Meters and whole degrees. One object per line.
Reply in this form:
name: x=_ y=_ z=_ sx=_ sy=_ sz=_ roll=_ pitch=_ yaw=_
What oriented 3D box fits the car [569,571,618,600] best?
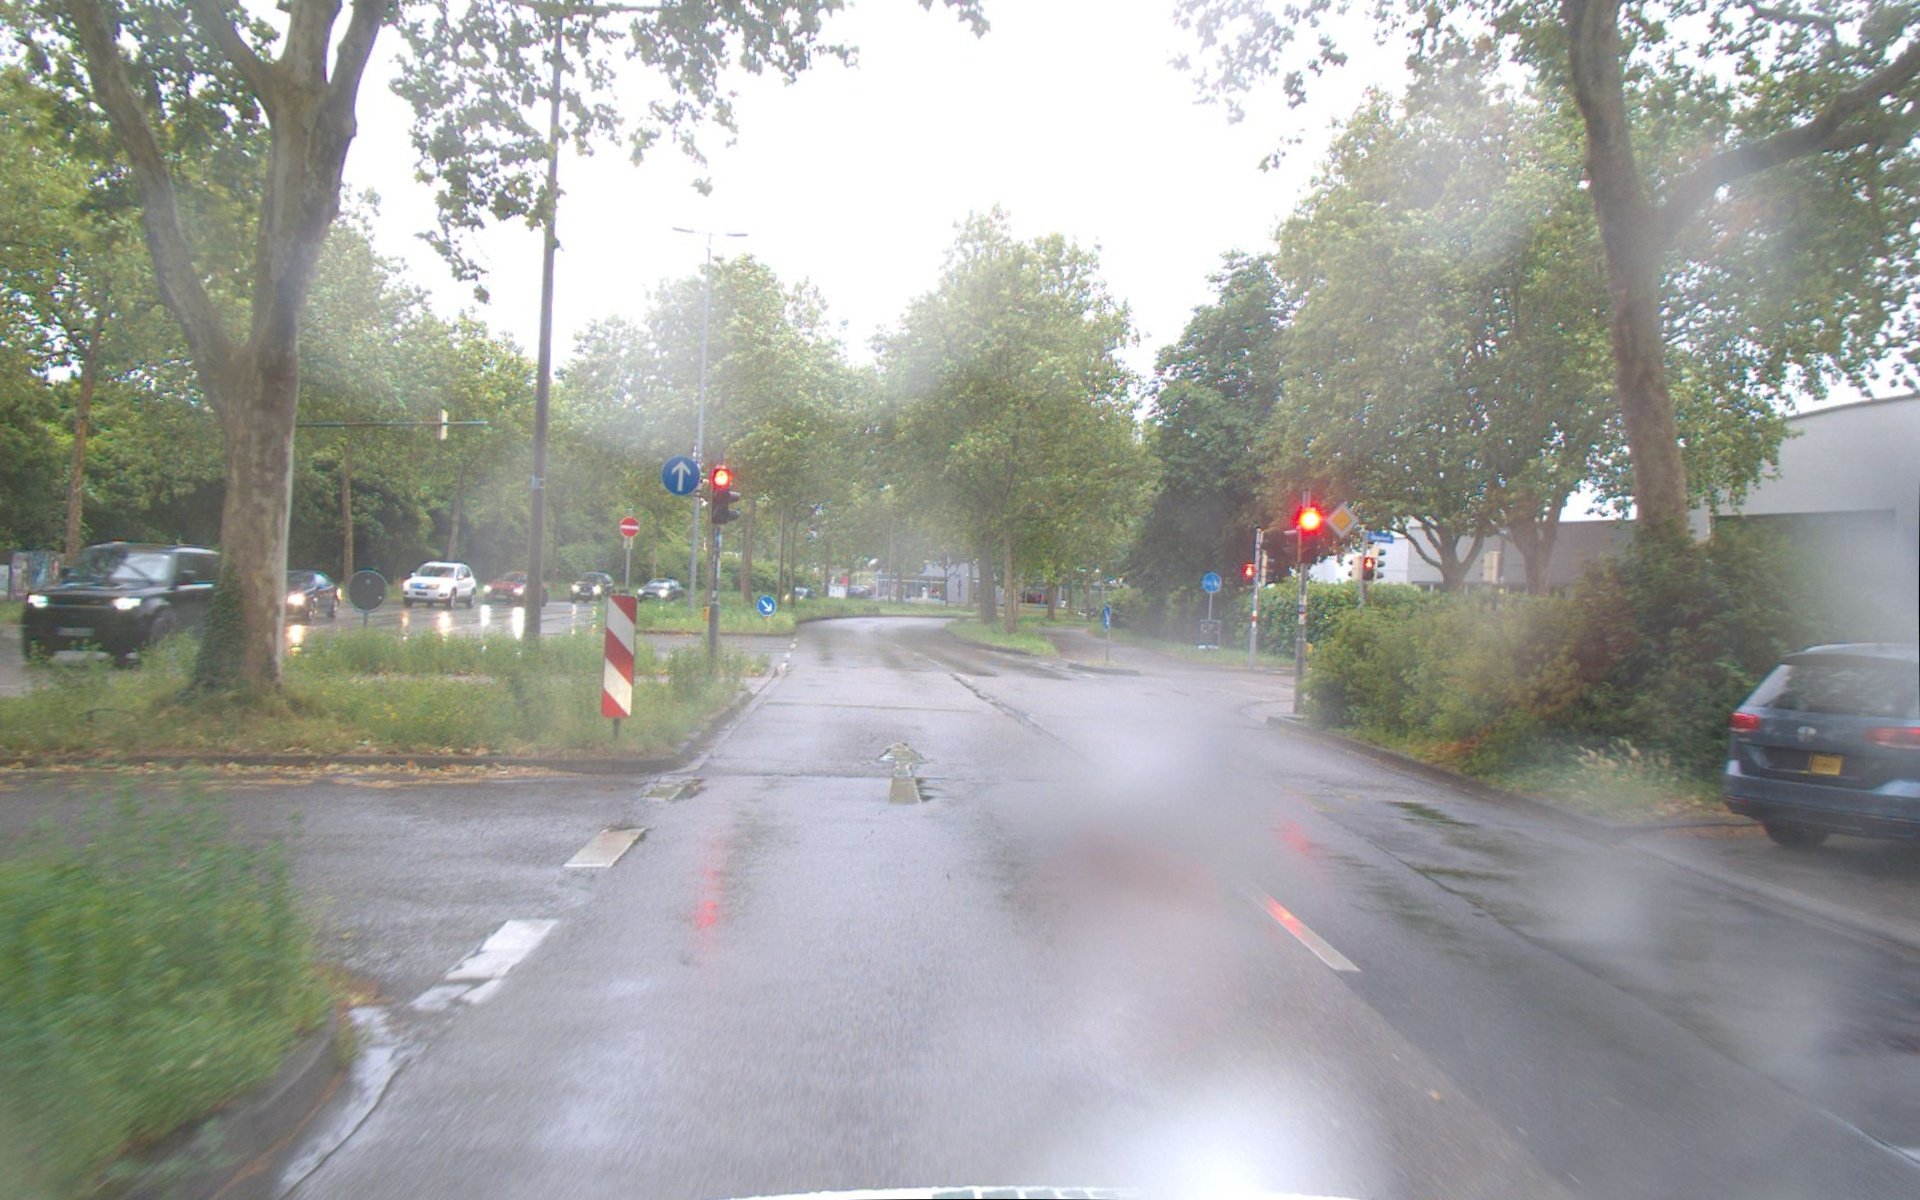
car: x=-18.776 y=-0.739 z=84.784 sx=1.554 sy=1.396 sz=3.335 roll=2 pitch=0 yaw=3

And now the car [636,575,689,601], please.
car: x=-17.104 y=-0.680 z=95.230 sx=1.553 sy=1.396 sz=4.265 roll=2 pitch=0 yaw=10

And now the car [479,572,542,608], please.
car: x=-19.601 y=-0.423 z=72.311 sx=1.708 sy=1.432 sz=4.442 roll=2 pitch=0 yaw=-3

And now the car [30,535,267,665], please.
car: x=-13.213 y=-0.013 z=27.316 sx=1.709 sy=1.874 sz=5.115 roll=2 pitch=0 yaw=-5

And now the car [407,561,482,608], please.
car: x=-19.409 y=-0.572 z=62.415 sx=1.709 sy=1.660 sz=4.440 roll=2 pitch=0 yaw=-5

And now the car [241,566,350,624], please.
car: x=-18.925 y=-0.190 z=47.294 sx=1.710 sy=1.464 sz=4.439 roll=2 pitch=2 yaw=-7

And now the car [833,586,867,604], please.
car: x=-13.591 y=-0.594 z=203.973 sx=3.918 sy=2.049 sz=1.994 roll=3 pitch=-2 yaw=-13

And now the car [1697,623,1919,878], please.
car: x=7.465 y=1.001 z=11.618 sx=4.426 sy=1.484 sz=1.735 roll=2 pitch=0 yaw=-26
